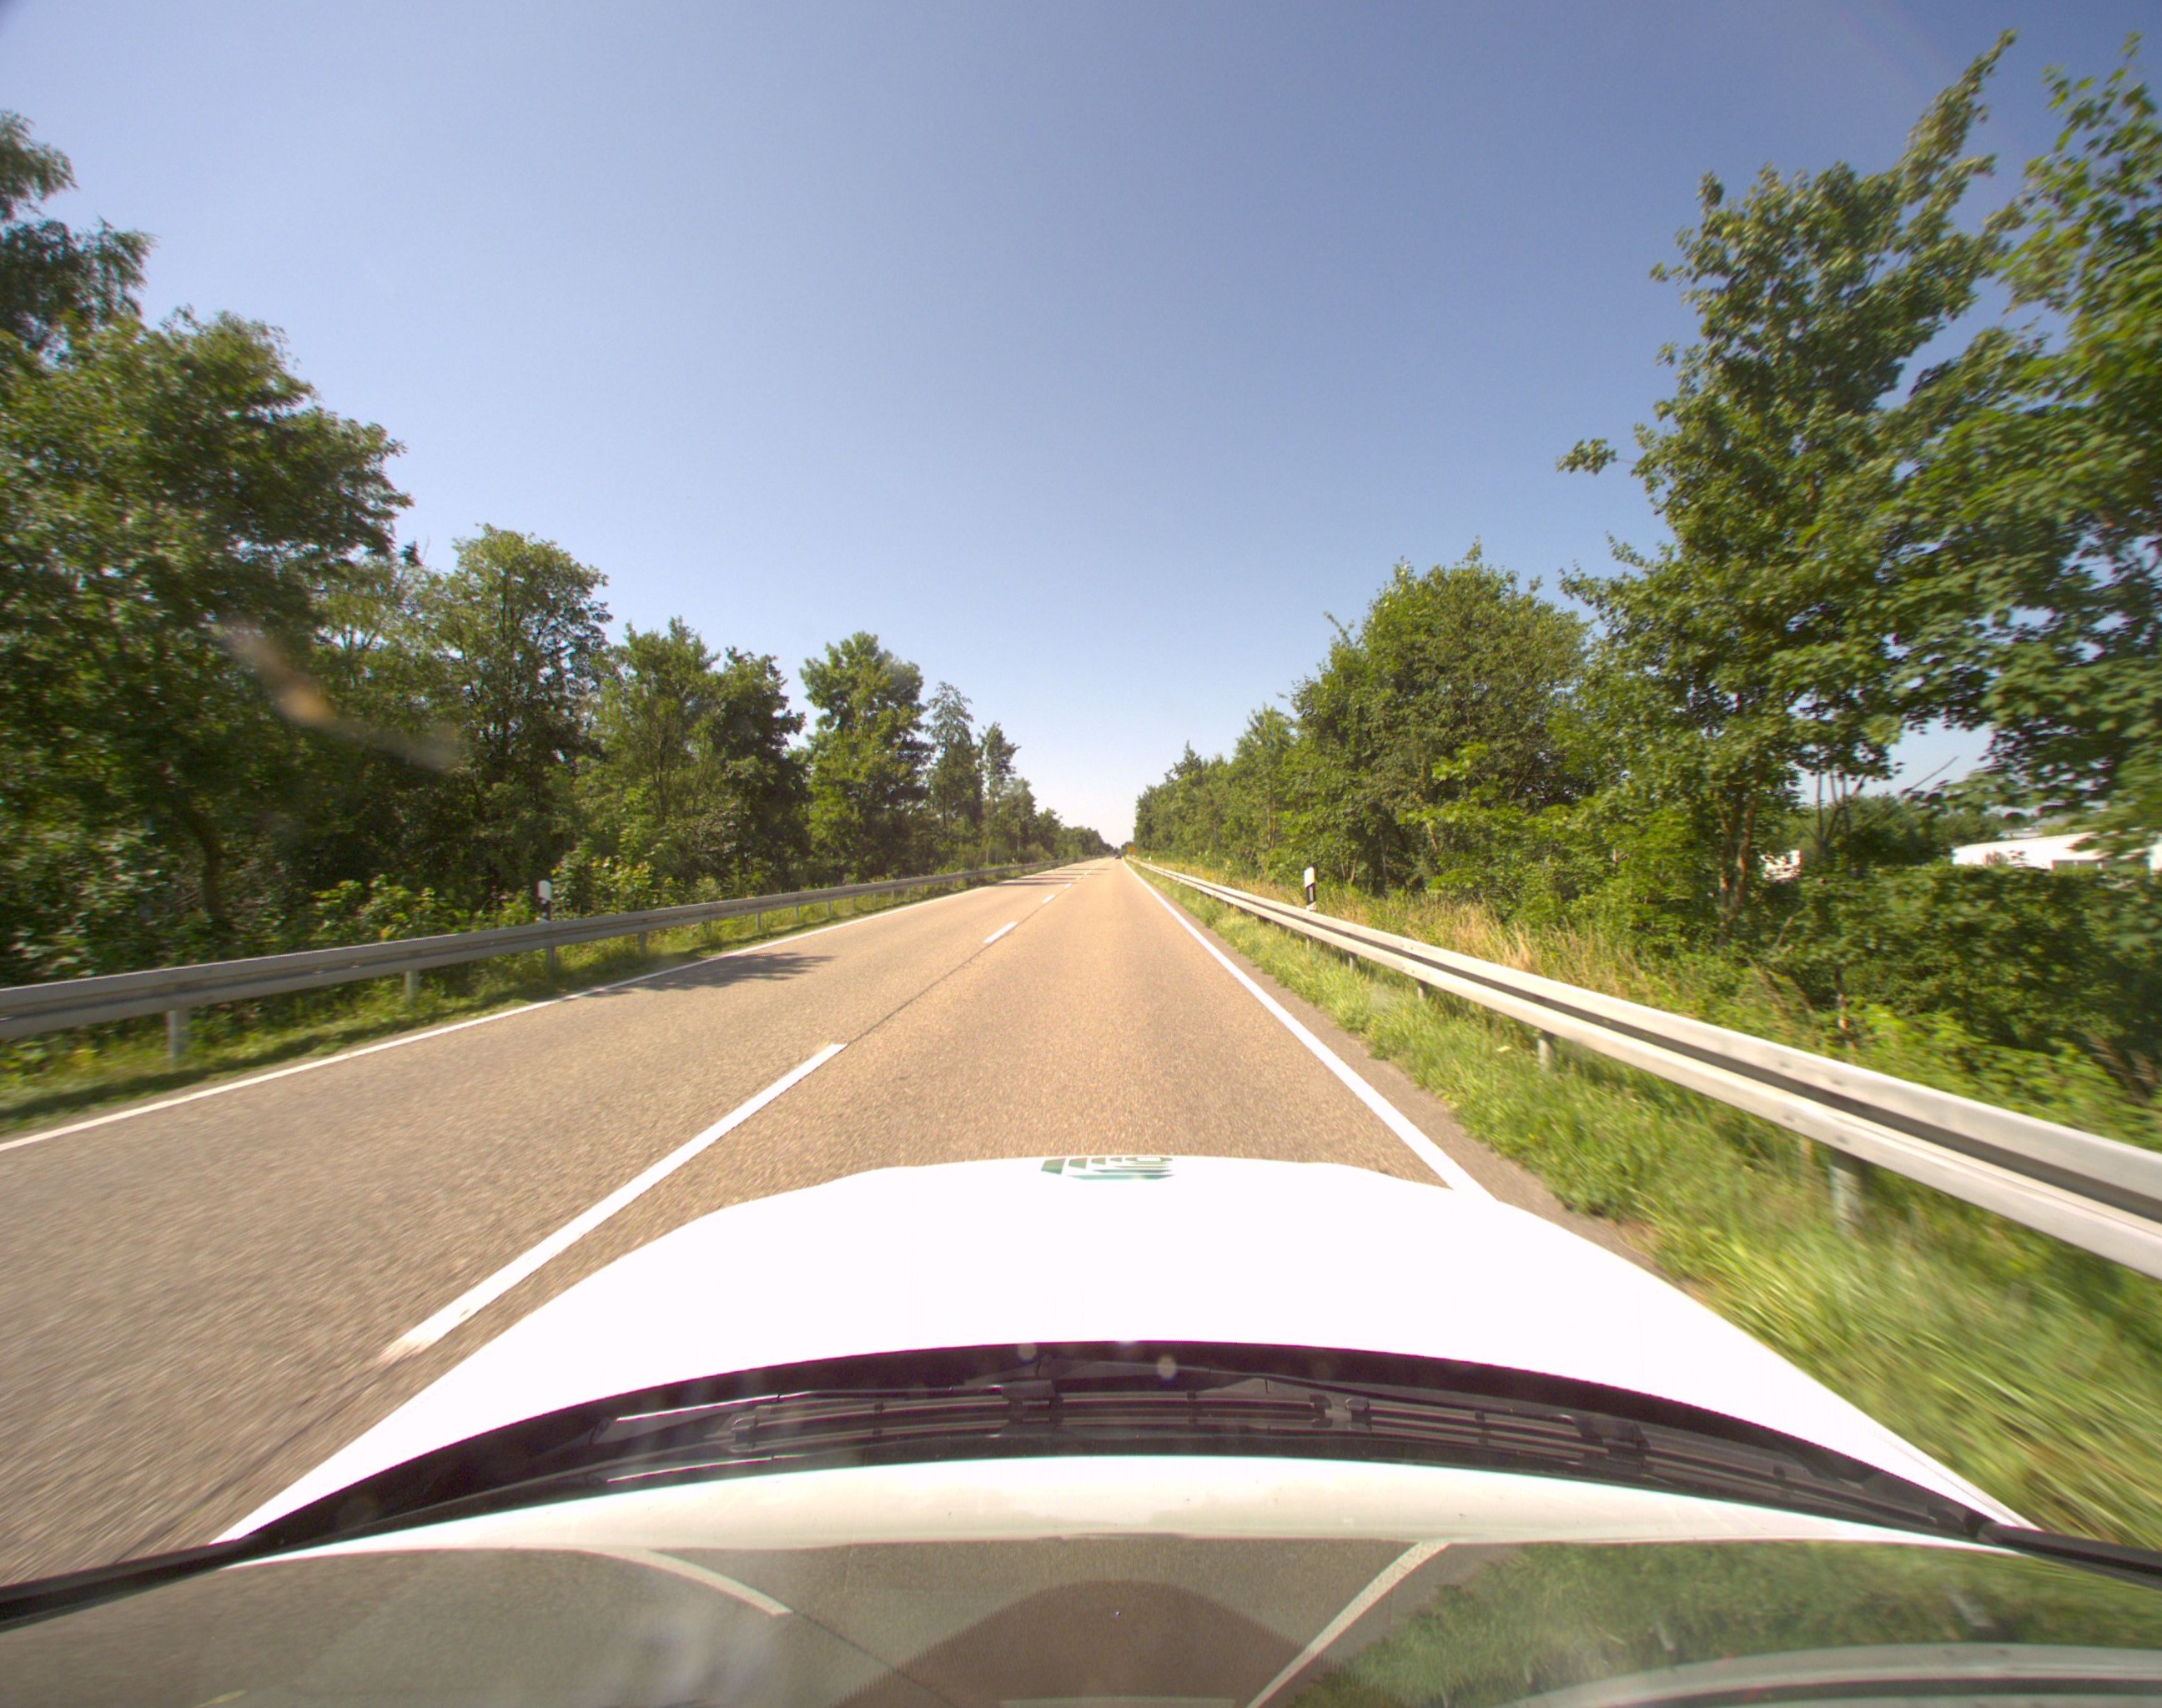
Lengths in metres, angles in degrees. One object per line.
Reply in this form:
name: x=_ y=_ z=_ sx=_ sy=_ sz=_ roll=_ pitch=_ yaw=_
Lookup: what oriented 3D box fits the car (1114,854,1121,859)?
car: x=10.346 y=0.730 z=231.248 sx=1.733 sy=1.470 sz=3.696 roll=0 pitch=0 yaw=4
